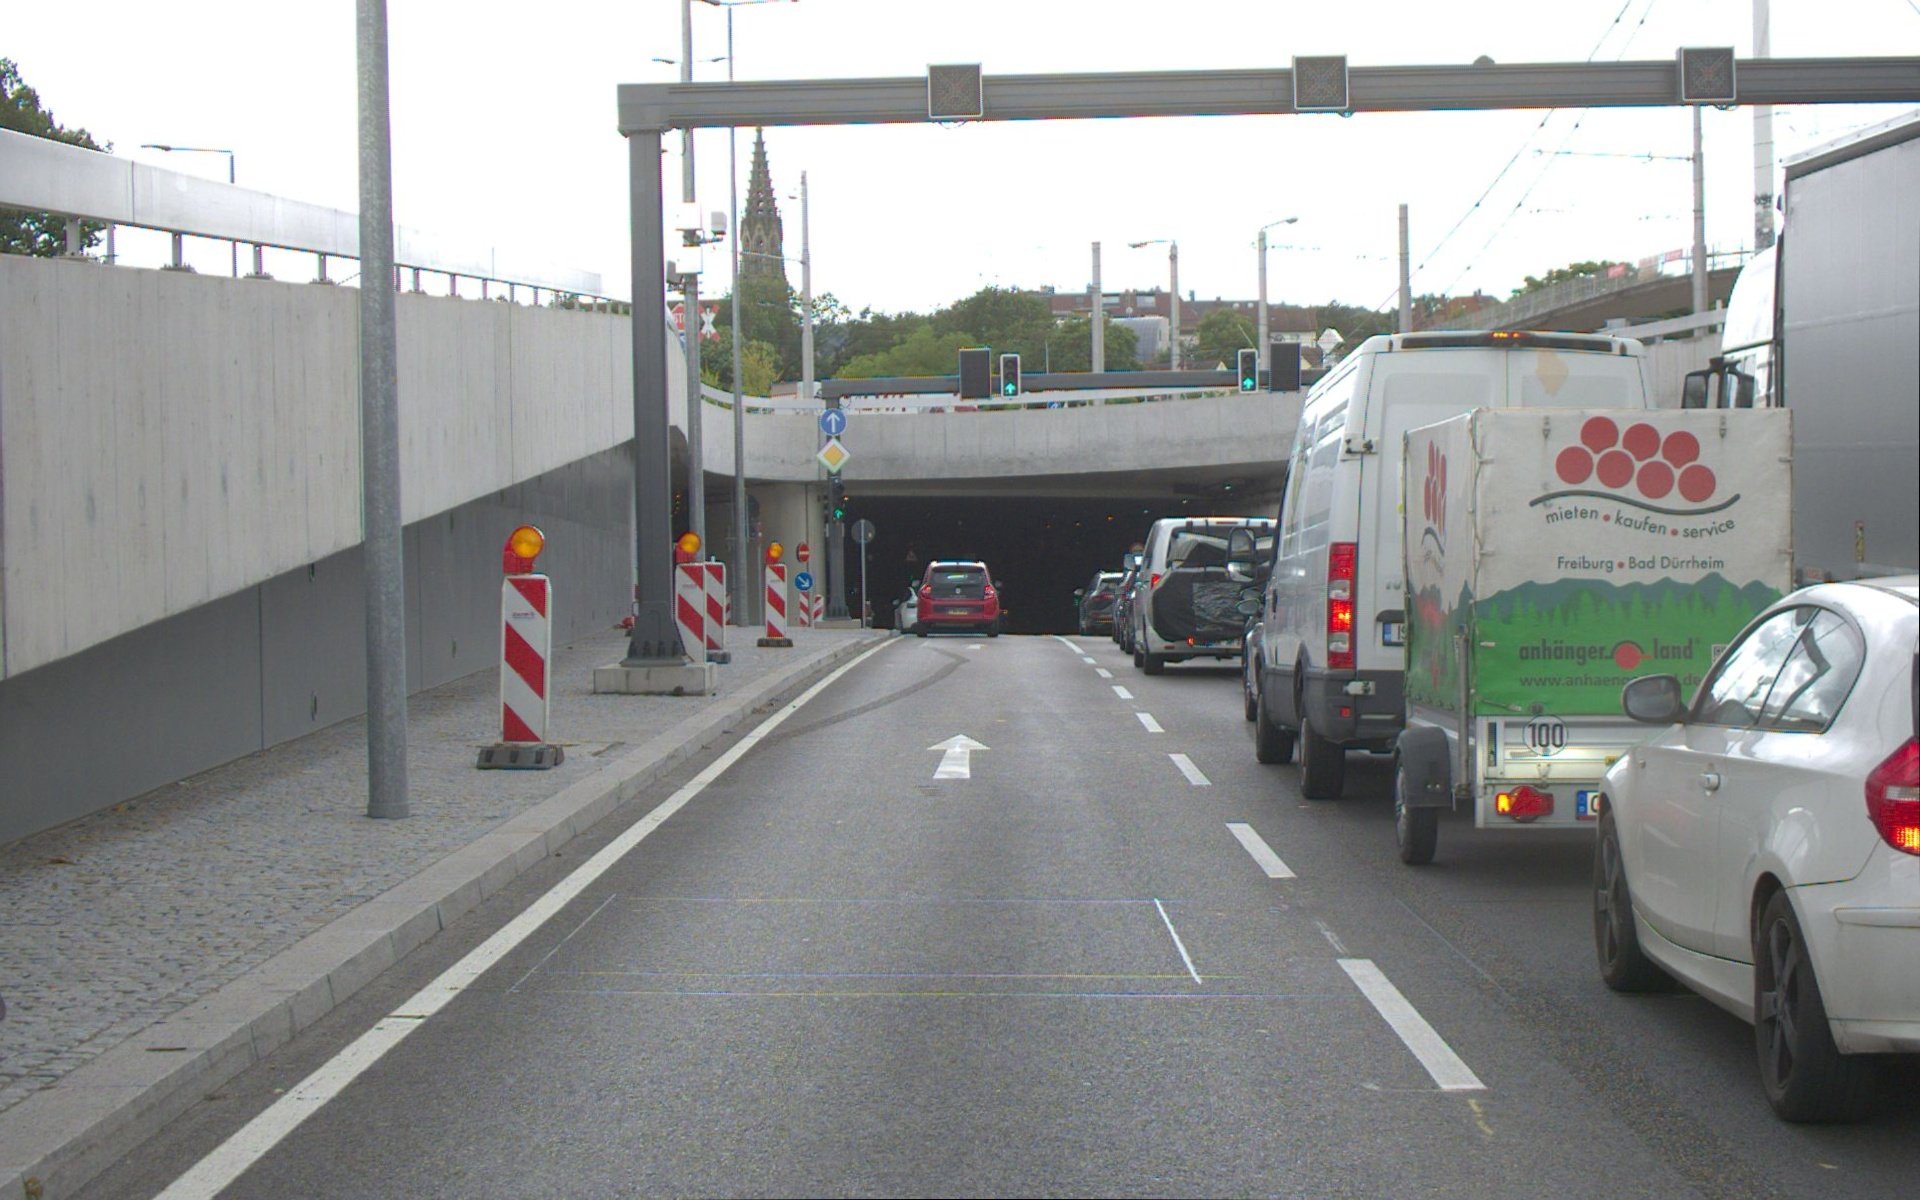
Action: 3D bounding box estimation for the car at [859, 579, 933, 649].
[{"bbox_3d":[-1.978,0.411,104.648,1.993,2.007,4.001,0,1,-5],"label":"car"}]

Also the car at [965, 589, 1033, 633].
[{"bbox_3d":[1.326,0.364,119.345,1.993,1.382,4.001,0,1,-5],"label":"car"}]

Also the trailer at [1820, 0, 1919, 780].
[{"bbox_3d":[7.319,-1.182,15.476,3.805,4.615,12.115,1,1,0],"label":"trailer"}]

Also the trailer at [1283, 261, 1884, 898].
[{"bbox_3d":[2.904,-0.110,17.194,2.103,2.630,4.810,3,1,1],"label":"trailer"}]

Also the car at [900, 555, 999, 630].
[{"bbox_3d":[-0.239,-0.138,70.146,1.660,1.483,3.567,-1,0,-6],"label":"car"}]

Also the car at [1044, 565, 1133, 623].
[{"bbox_3d":[2.810,-0.118,75.848,1.663,1.243,3.567,-1,0,-2],"label":"car"}]

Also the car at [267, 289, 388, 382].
[{"bbox_3d":[-12.020,-5.014,65.532,1.743,1.427,3.776,3,1,-3],"label":"car"}]

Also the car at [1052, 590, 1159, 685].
[{"bbox_3d":[2.652,0.666,63.383,1.819,1.575,4.000,3,1,1],"label":"car"}]

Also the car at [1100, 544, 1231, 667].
[{"bbox_3d":[3.054,0.049,51.783,1.819,1.678,4.000,1,2,2],"label":"car"}]

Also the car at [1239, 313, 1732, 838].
[{"bbox_3d":[2.971,-0.155,20.839,2.058,2.619,5.942,3,1,1],"label":"car"}]

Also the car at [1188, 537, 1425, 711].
[{"bbox_3d":[3.340,0.192,33.749,1.681,1.539,3.693,1,2,-4],"label":"car"}]

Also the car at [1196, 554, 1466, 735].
[{"bbox_3d":[3.015,0.328,28.666,1.763,1.378,4.039,-1,0,-1],"label":"car"}]

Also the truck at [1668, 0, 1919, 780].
[{"bbox_3d":[7.331,-1.336,22.457,3.805,4.615,7.443,1,1,0],"label":"truck"}]

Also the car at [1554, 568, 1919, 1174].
[{"bbox_3d":[2.960,0.636,10.213,1.716,1.393,4.347,2,1,2],"label":"car"}]

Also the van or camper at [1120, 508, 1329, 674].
[{"bbox_3d":[3.090,-0.143,41.245,1.993,1.839,5.508,1,1,-1],"label":"van or camper"}]

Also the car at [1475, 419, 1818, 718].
[{"bbox_3d":[6.906,-0.384,35.508,2.075,2.763,7.327,0,1,0],"label":"car"}]
